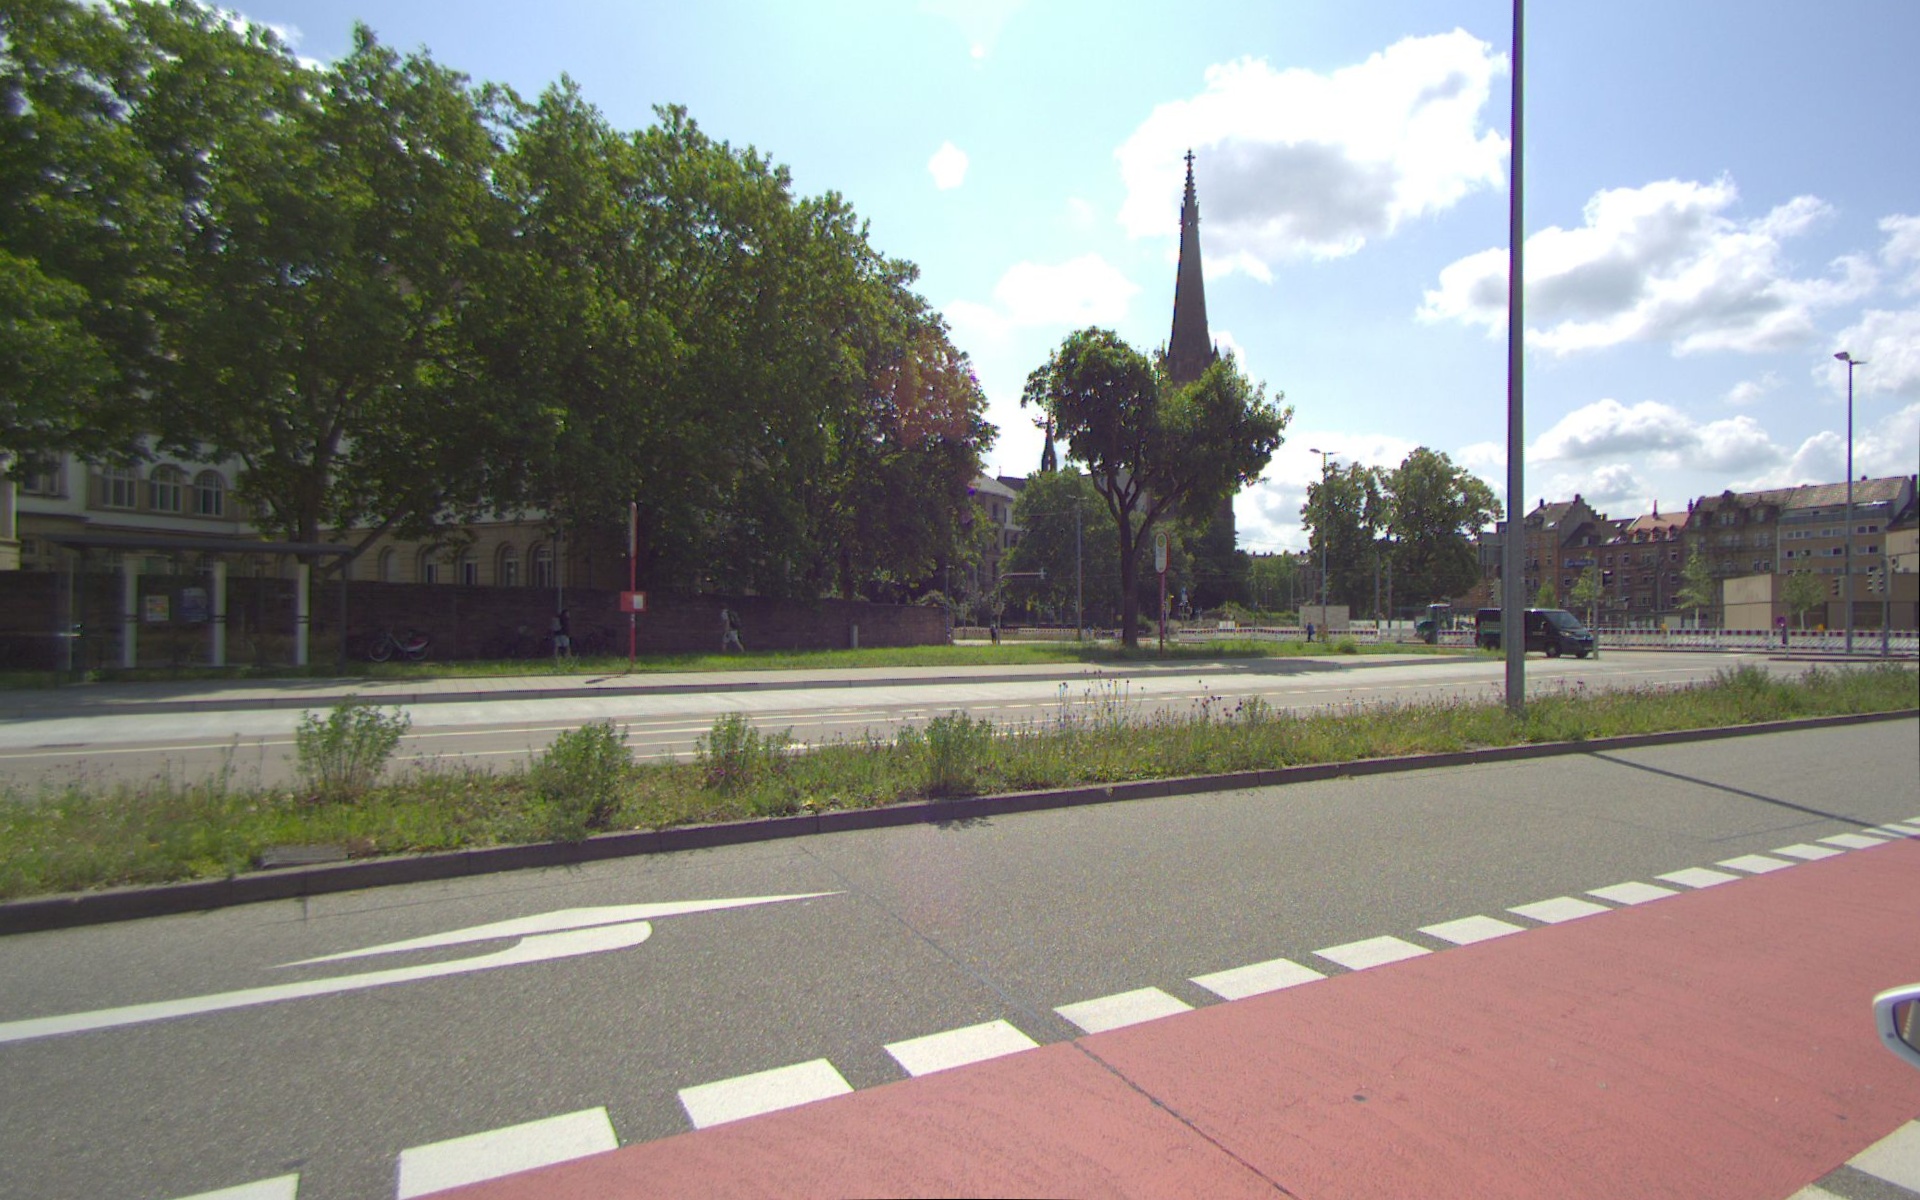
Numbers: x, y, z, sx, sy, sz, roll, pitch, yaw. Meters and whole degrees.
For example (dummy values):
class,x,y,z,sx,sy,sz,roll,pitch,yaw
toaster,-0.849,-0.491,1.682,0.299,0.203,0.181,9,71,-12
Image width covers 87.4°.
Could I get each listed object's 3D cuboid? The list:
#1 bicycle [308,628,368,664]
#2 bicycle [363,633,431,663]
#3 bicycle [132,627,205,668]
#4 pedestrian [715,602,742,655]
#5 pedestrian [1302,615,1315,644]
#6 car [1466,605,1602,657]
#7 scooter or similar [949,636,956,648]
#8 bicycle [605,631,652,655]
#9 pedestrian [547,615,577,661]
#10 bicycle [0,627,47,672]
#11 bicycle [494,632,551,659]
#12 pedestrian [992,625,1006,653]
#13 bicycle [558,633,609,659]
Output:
class,x,y,z,sx,sy,sz,roll,pitch,yaw
bicycle,-17.154,1.263,27.722,0.260,0.977,1.391,0,-1,36
bicycle,-16.235,1.377,29.019,0.324,0.828,1.743,0,-1,36
bicycle,-19.412,1.155,24.651,0.260,0.977,1.391,0,-1,36
pedestrian,-6.635,0.806,28.787,0.627,1.492,0.506,1,-1,-32
pedestrian,24.828,2.071,71.570,0.625,2.040,0.643,1,-1,-32
car,26.112,1.457,45.896,2.128,2.204,4.983,1,-3,-28
scooter or similar,-0.436,2.473,58.990,0.117,0.721,1.005,0,-1,17
bicycle,-11.771,1.527,35.688,0.324,0.828,1.743,0,-1,36
pedestrian,-12.403,1.183,31.311,0.720,1.413,0.714,1,-1,-35
bicycle,-21.251,1.100,22.330,0.260,0.977,1.391,0,-1,36
bicycle,-14.015,1.459,32.205,0.378,0.828,1.743,0,-1,36
pedestrian,2.900,2.872,74.683,0.713,2.040,0.721,1,-1,-32
bicycle,-12.776,1.548,34.161,0.324,0.828,1.743,0,-1,36
